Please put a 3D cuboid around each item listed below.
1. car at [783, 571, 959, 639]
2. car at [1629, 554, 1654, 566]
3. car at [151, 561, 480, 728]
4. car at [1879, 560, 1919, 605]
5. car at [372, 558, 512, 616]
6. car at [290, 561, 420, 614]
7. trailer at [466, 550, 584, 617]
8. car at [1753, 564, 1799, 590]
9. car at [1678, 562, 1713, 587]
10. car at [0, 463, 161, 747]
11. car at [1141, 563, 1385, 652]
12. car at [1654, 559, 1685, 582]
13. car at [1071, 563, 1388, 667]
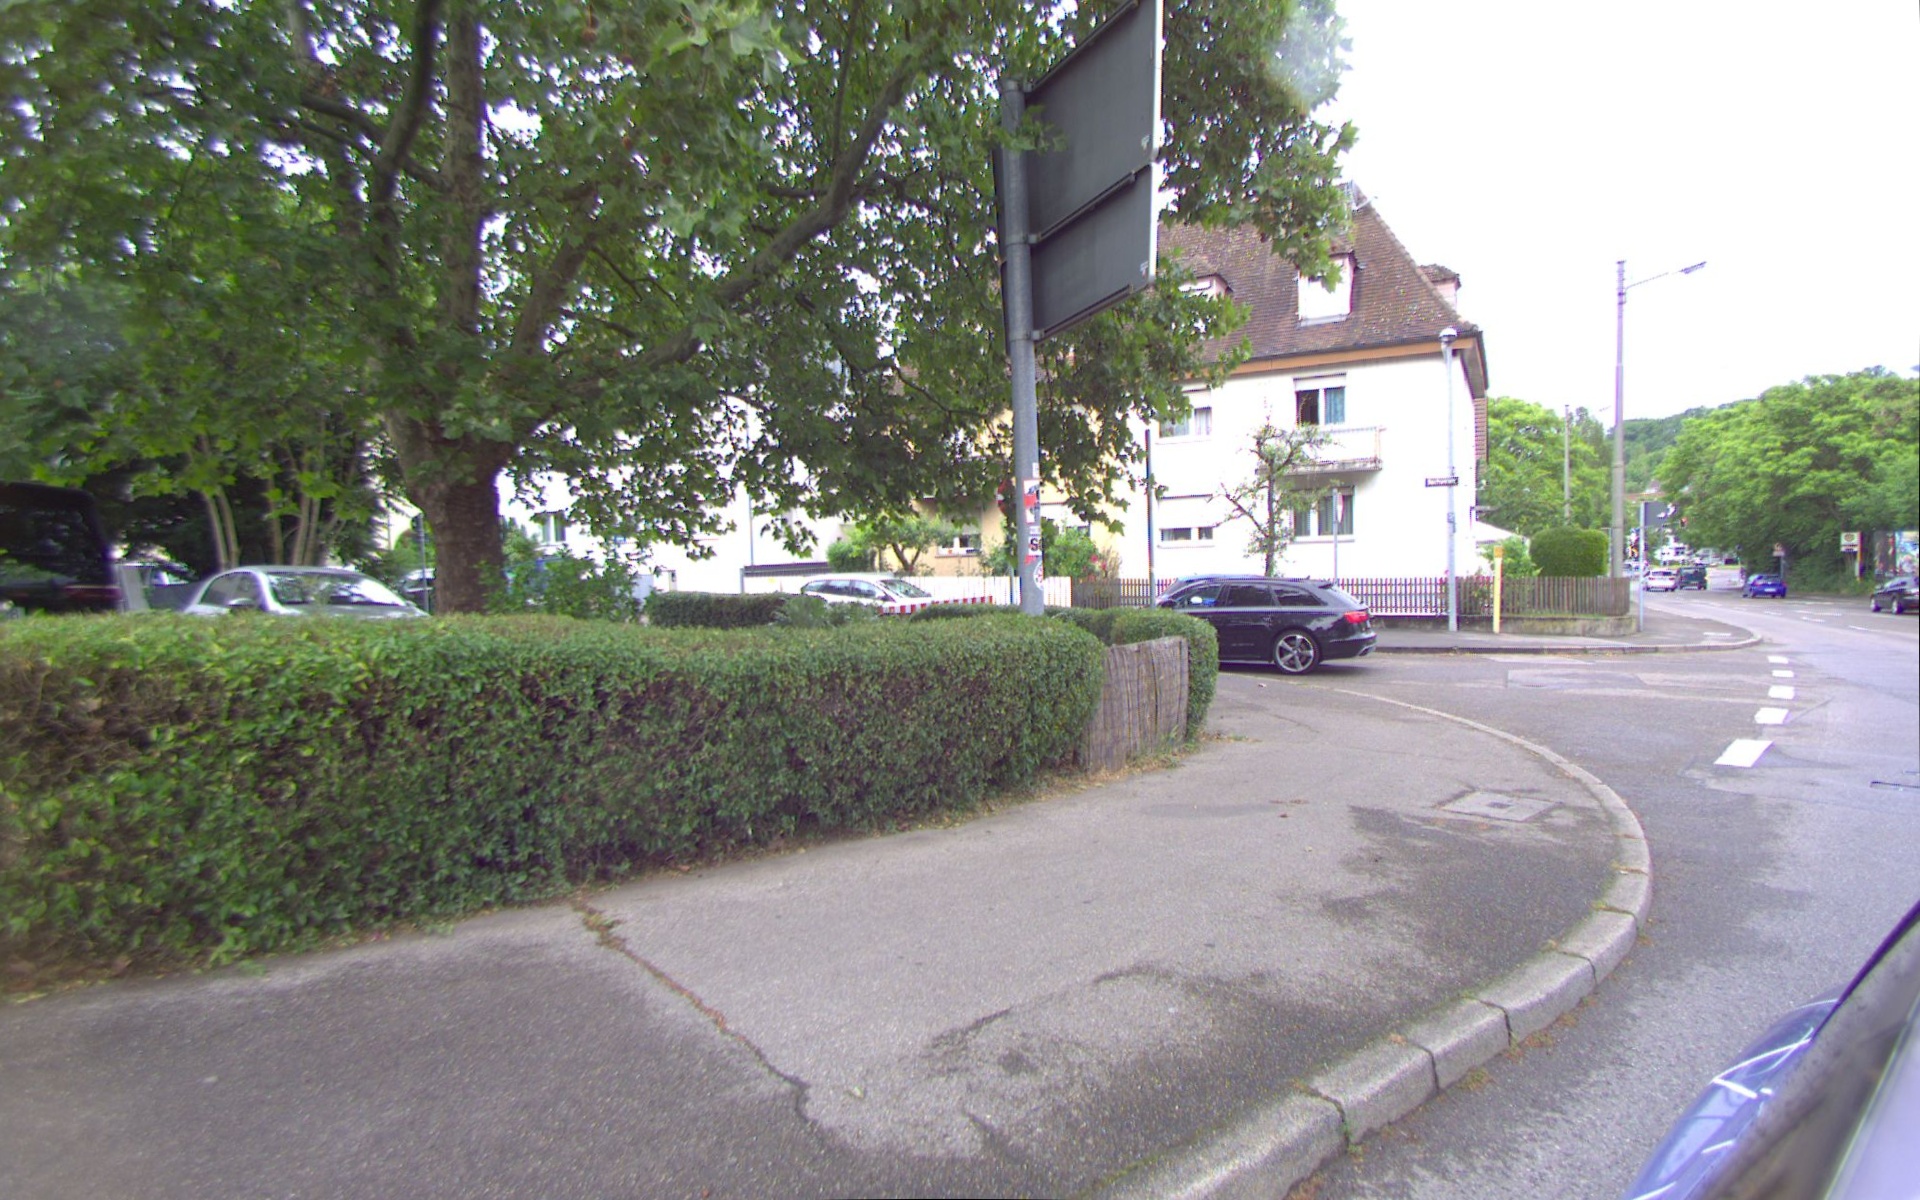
[{"bbox_3d":[-2.078,0.070,23.408,3.752,1.471,1.754,1,1,30],"label":"car"},{"bbox_3d":[88.666,-5.193,131.732,1.879,1.479,3.971,1,2,22],"label":"car"},{"bbox_3d":[-7.443,0.372,11.587,3.974,1.599,1.800,1,2,35],"label":"car"},{"bbox_3d":[35.450,-0.659,37.019,1.833,1.589,4.365,1,1,31],"label":"car"},{"bbox_3d":[-17.502,-0.475,34.187,4.535,1.862,1.982,1,2,28],"label":"car"},{"bbox_3d":[-22.071,-0.486,36.903,4.535,1.862,1.982,1,2,28],"label":"car"},{"bbox_3d":[-13.921,-0.535,32.380,3.456,2.038,1.657,1,1,26],"label":"trailer"},{"bbox_3d":[47.499,-1.322,58.983,1.590,1.443,3.656,0,1,31],"label":"car"},{"bbox_3d":[60.209,-2.095,82.918,1.949,1.955,4.632,1,2,31],"label":"car"},{"bbox_3d":[-8.534,0.009,7.990,4.376,1.956,1.980,1,2,29],"label":"car"},{"bbox_3d":[5.691,0.062,19.157,4.095,1.498,1.865,1,2,32],"label":"car"},{"bbox_3d":[53.292,-2.216,76.017,1.825,1.598,4.281,0,2,34],"label":"car"},{"bbox_3d":[4.375,0.156,16.553,4.768,1.498,1.870,1,2,25],"label":"car"}]
